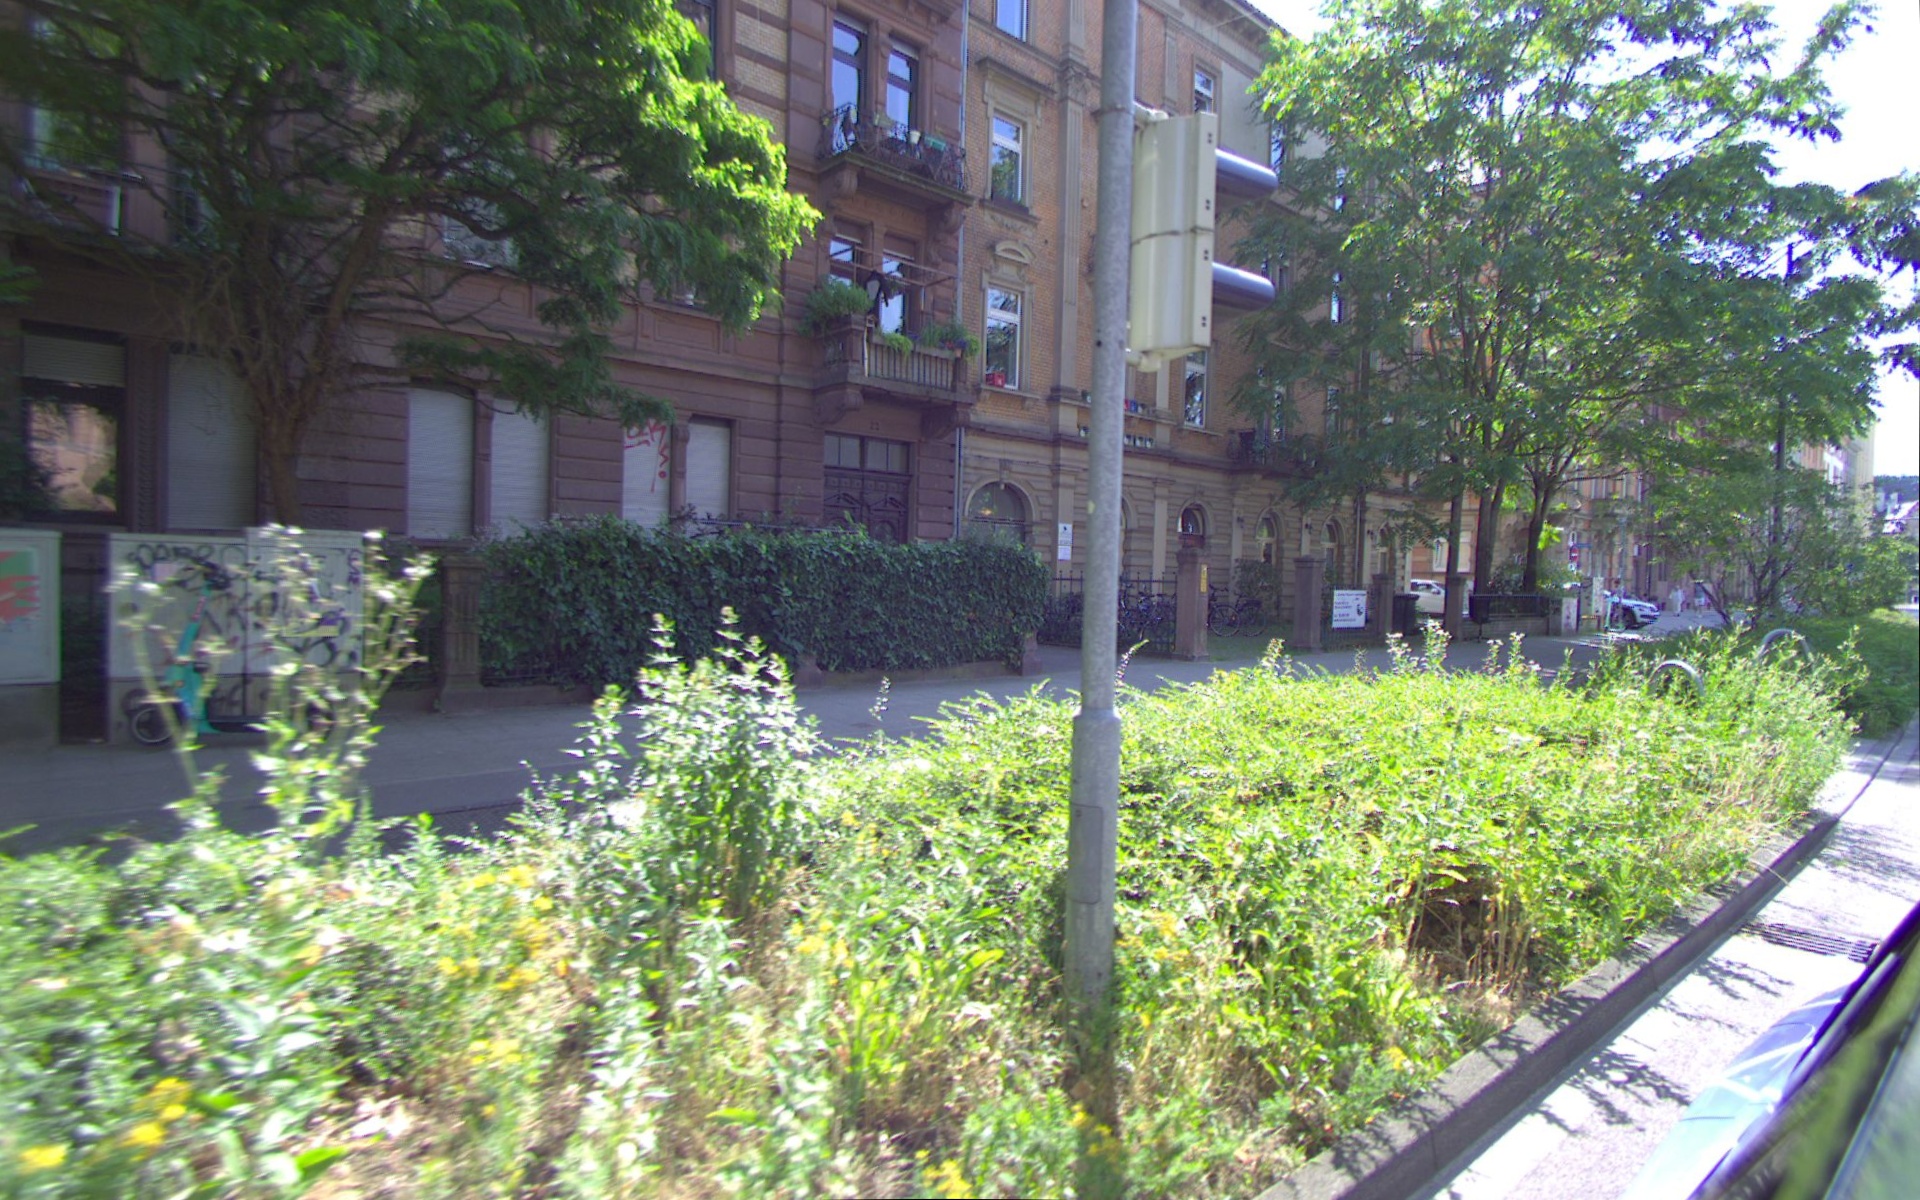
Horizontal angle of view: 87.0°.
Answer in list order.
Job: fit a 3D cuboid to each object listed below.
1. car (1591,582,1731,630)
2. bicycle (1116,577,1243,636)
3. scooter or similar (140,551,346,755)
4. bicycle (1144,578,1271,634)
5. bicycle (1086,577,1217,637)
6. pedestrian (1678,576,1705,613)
[{"bbox_3d":[25.965,0.175,37.555,4.075,1.535,1.861,3,2,40],"label":"car"},{"bbox_3d":[4.732,0.111,21.885,2.559,1.125,0.765,3,2,30],"label":"bicycle"},{"bbox_3d":[-4.977,0.332,7.042,1.124,1.298,0.583,0,2,-40],"label":"scooter or similar"},{"bbox_3d":[5.574,0.099,22.815,2.559,1.125,1.101,3,2,29],"label":"bicycle"},{"bbox_3d":[3.986,0.115,21.142,2.554,1.125,0.767,3,2,25],"label":"bicycle"},{"bbox_3d":[34.762,-0.258,48.094,0.951,1.739,0.796,0,2,-42],"label":"pedestrian"}]
